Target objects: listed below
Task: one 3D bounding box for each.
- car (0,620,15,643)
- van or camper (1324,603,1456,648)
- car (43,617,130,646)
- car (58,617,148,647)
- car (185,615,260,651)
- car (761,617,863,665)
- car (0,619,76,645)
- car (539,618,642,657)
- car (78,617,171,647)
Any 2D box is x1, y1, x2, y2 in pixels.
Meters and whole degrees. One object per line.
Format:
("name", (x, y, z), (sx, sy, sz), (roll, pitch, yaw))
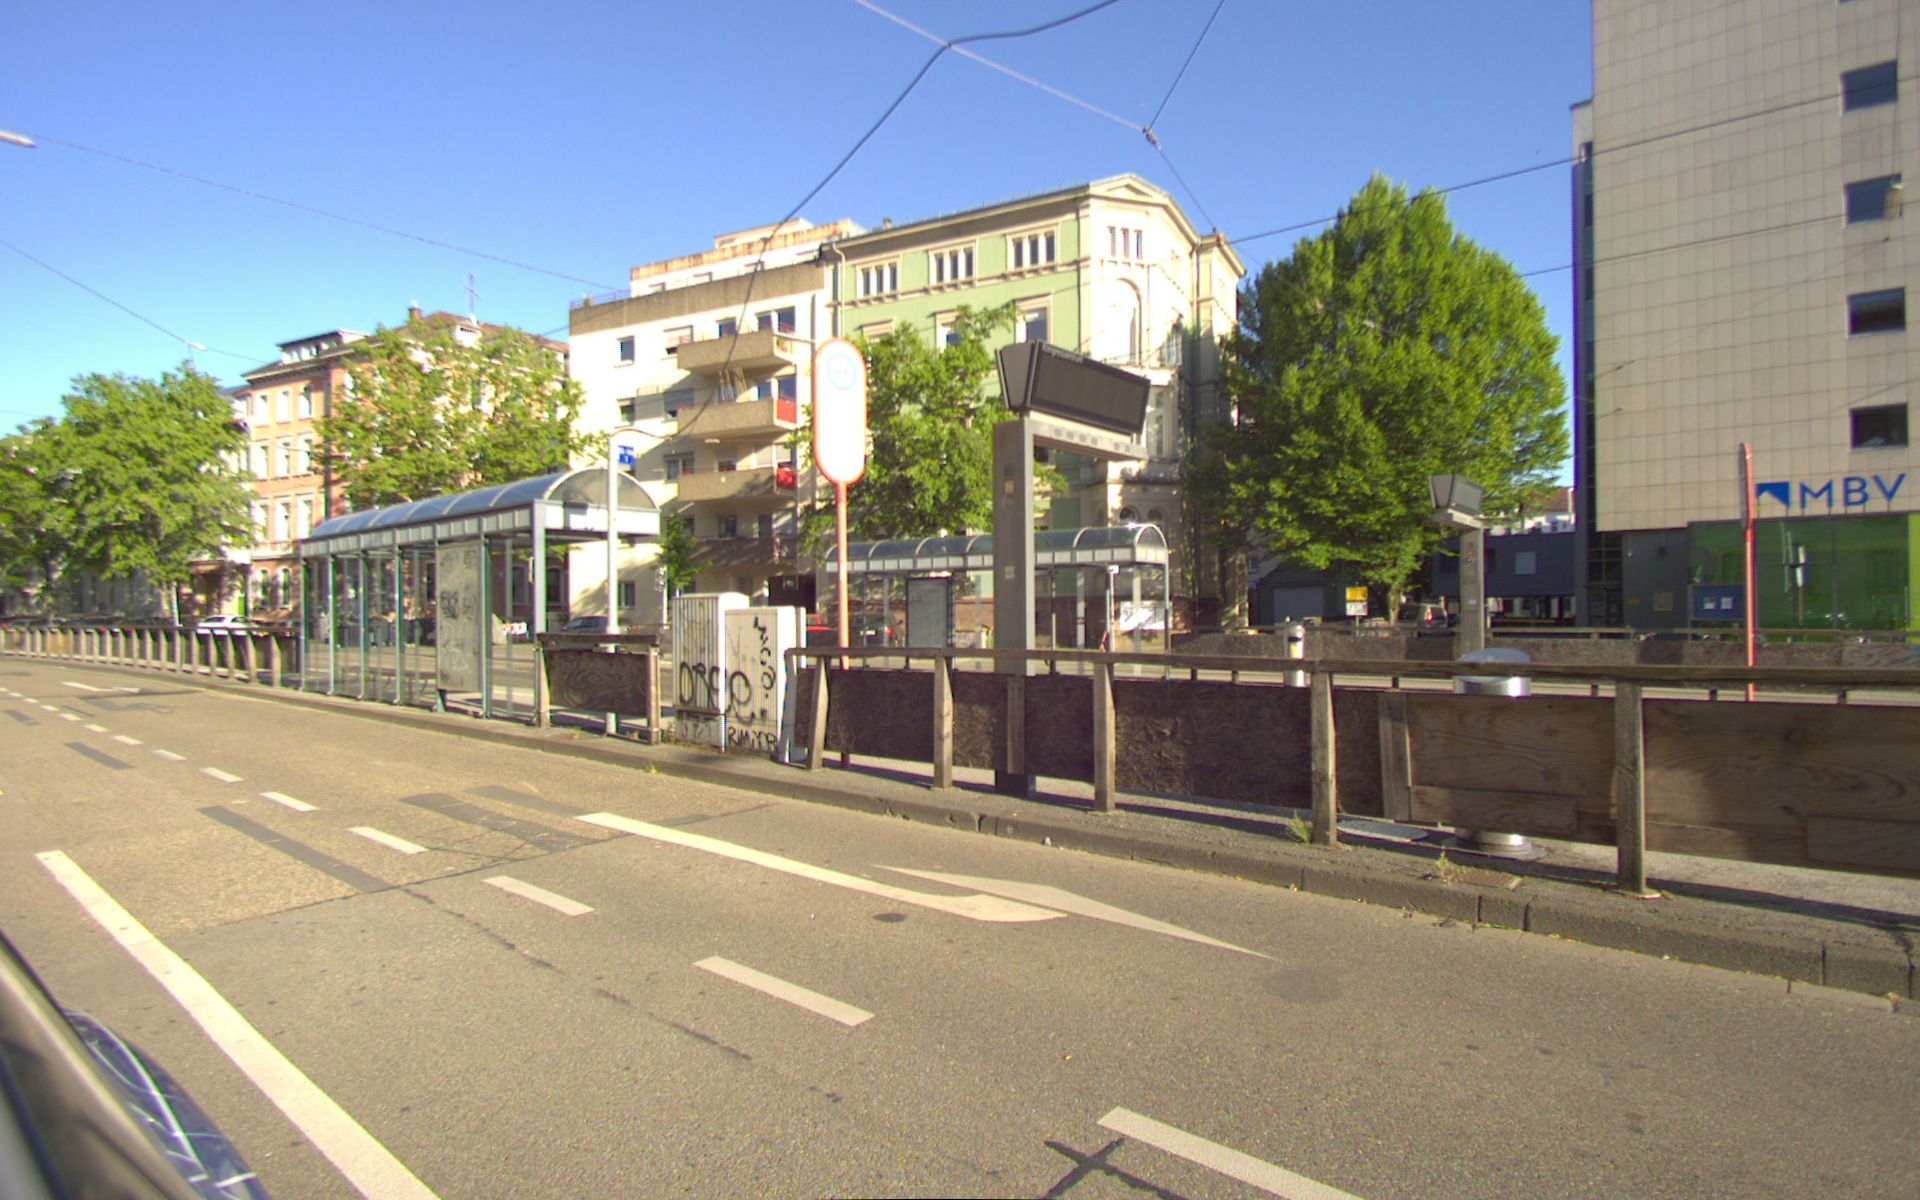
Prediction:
("car", (-68.112, 2.188, 70.117), (2.001, 1.604, 3.812), (-2, -2, 44))
("van or camper", (15.493, 0.884, 36.550), (3.998, 1.417, 1.943), (2, 0, 41))
("car", (-54.313, 1.930, 62.961), (2.001, 1.697, 3.942), (-2, -2, 44))
("car", (-51.306, 1.885, 60.632), (2.001, 1.697, 3.942), (-2, -2, 44))
("car", (-39.533, 1.749, 54.378), (1.966, 1.736, 4.012), (0, 1, -15))
("car", (-5.013, 1.363, 34.693), (1.763, 1.547, 3.763), (-1, -2, 23))
("car", (-59.622, 2.056, 65.272), (3.811, 1.604, 2.001), (1, -2, -45))
("car", (-14.015, 1.412, 38.398), (3.498, 1.406, 1.602), (-1, -2, 22))
("car", (-47.989, 1.822, 58.160), (2.001, 1.697, 3.942), (-2, -2, 44))
